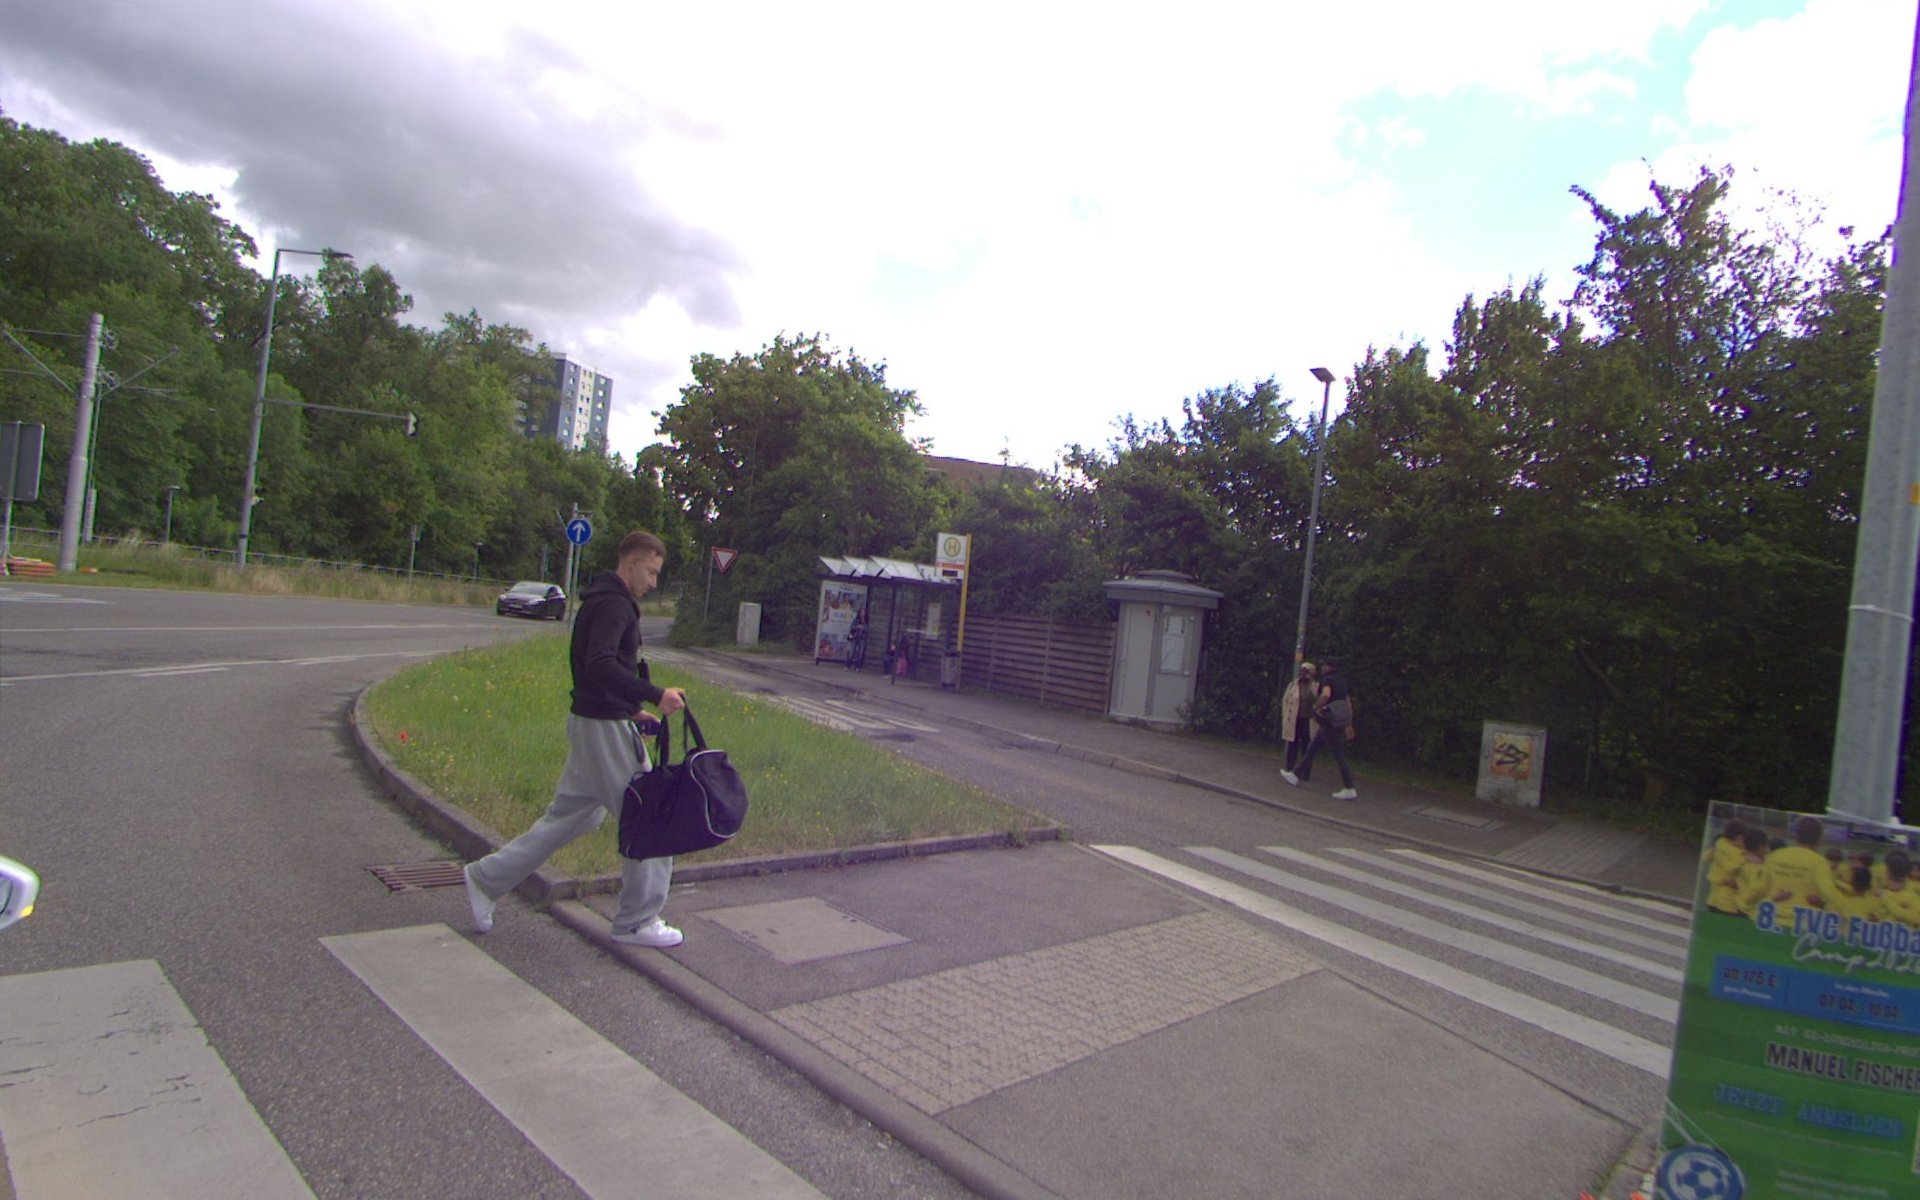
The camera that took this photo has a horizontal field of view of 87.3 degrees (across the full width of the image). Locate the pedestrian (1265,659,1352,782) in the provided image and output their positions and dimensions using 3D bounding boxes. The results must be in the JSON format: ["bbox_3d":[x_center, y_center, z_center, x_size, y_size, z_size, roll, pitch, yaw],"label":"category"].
[{"bbox_3d":[4.916,1.698,14.201,0.681,1.613,0.763,7,-1,-38],"label":"pedestrian"}]

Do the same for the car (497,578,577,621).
[{"bbox_3d":[-17.165,0.023,41.056,1.731,1.451,4.426,7,-2,-7],"label":"car"}]

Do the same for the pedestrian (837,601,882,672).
[{"bbox_3d":[-2.544,0.921,25.421,0.763,1.669,0.682,7,-1,-30],"label":"pedestrian"}]

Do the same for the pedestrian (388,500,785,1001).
[{"bbox_3d":[-1.541,0.564,4.292,1.042,1.767,0.958,6,-1,21],"label":"pedestrian"}]

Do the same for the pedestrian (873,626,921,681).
[{"bbox_3d":[-1.507,1.273,24.060,0.743,1.184,0.764,7,-1,-35],"label":"pedestrian"}]

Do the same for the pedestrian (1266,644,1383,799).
[{"bbox_3d":[4.768,1.576,13.175,0.852,1.844,0.972,7,0,-44],"label":"pedestrian"}]
